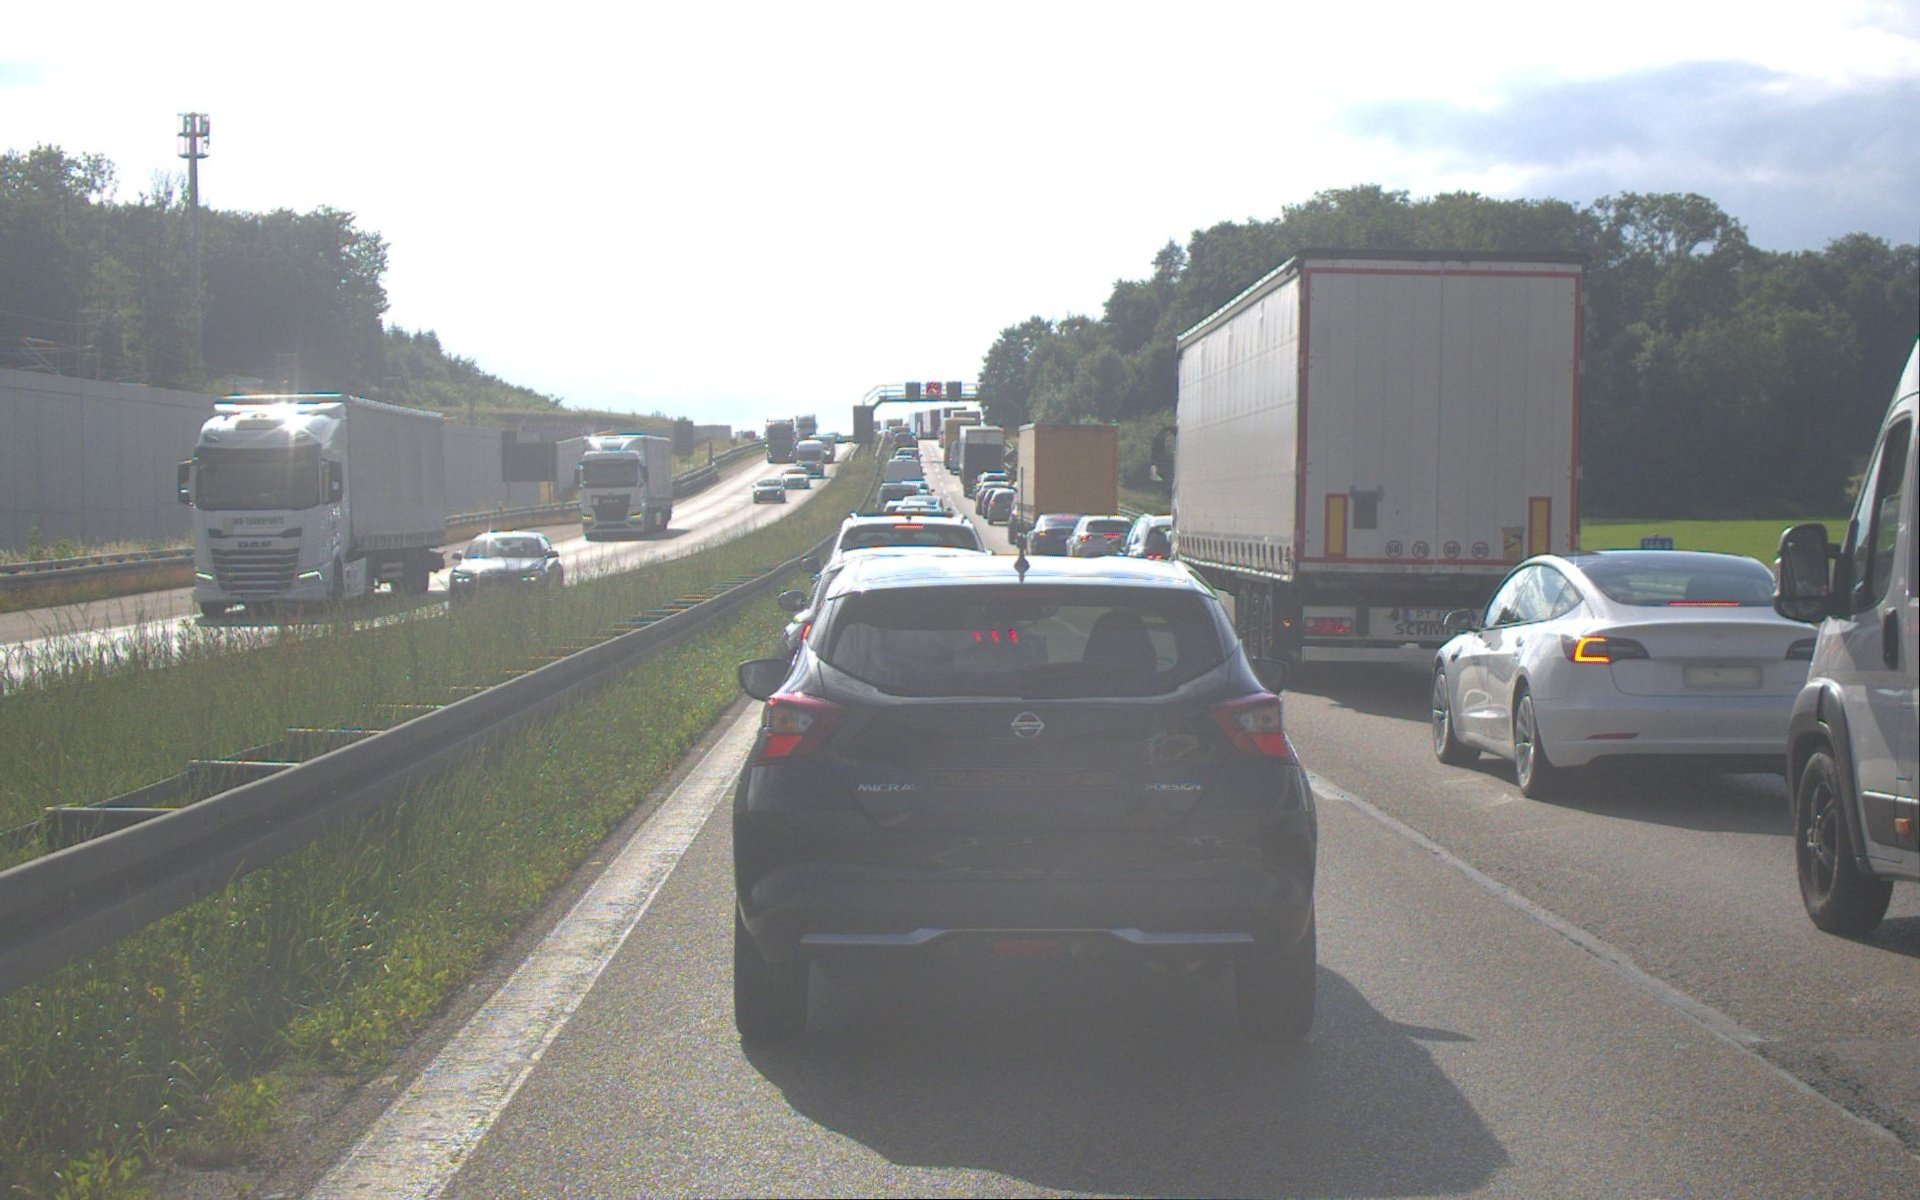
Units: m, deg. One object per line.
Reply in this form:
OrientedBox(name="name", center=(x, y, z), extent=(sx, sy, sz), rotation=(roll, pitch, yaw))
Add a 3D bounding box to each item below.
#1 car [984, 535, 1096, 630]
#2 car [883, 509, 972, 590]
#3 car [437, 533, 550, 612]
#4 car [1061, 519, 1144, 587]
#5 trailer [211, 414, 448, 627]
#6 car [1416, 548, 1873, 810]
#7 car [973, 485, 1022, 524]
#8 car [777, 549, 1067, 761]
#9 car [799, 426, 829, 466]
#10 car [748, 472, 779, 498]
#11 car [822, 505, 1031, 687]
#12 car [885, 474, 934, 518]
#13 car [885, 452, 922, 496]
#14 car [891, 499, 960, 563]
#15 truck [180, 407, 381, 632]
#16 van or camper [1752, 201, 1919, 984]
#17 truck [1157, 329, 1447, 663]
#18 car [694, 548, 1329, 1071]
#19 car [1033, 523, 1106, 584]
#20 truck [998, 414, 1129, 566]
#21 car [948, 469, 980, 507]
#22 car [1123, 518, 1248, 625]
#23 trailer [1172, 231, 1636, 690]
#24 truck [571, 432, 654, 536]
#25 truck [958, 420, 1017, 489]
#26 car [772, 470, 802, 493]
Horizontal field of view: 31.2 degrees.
OrientedBox(name="car", center=(1.406, -0.345, 61.943), extent=(1.873, 1.638, 4.232), rotation=(0, 1, -1))
OrientedBox(name="car", center=(-0.708, -1.120, 74.252), extent=(1.873, 1.638, 4.233), rotation=(0, 2, -1))
OrientedBox(name="car", center=(-8.556, -0.525, 63.263), extent=(1.633, 1.396, 3.897), rotation=(0, 1, -1))
OrientedBox(name="car", center=(3.611, -1.228, 87.581), extent=(1.873, 1.638, 4.233), rotation=(0, 2, -1))
OrientedBox(name="trailer", center=(-13.044, -1.638, 72.449), extent=(2.683, 4.024, 13.793), rotation=(-1, 1, -1))
OrientedBox(name="car", center=(4.046, 0.399, 21.051), extent=(1.788, 1.389, 4.437), rotation=(0, 1, -2))
OrientedBox(name="car", center=(1.650, -4.260, 152.678), extent=(1.873, 1.638, 4.233), rotation=(0, 3, -4))
OrientedBox(name="car", center=(-0.269, 0.321, 24.322), extent=(1.873, 1.353, 4.232), rotation=(0, 1, -1))
OrientedBox(name="car", center=(-10.999, -11.598, 259.092), extent=(2.104, 2.860, 5.637), rotation=(0, 1, -1))
OrientedBox(name="car", center=(-11.488, -6.713, 201.048), extent=(1.651, 1.446, 3.956), rotation=(0, 1, -1))
OrientedBox(name="car", center=(-0.326, -0.073, 33.156), extent=(1.873, 1.638, 4.232), rotation=(0, 1, -1))
OrientedBox(name="car", center=(-2.013, -4.124, 135.723), extent=(1.873, 1.638, 4.233), rotation=(0, 3, -2))
OrientedBox(name="car", center=(-2.960, -6.599, 179.575), extent=(1.873, 2.151, 5.212), rotation=(0, 4, -1))
OrientedBox(name="car", center=(-0.950, -1.936, 95.387), extent=(1.873, 1.638, 4.233), rotation=(0, 3, -1))
OrientedBox(name="truck", center=(-12.882, -1.515, 65.601), extent=(2.685, 4.054, 5.880), rotation=(-1, 1, -1))
OrientedBox(name="van or camper", center=(4.390, -0.013, 10.939), extent=(2.215, 2.672, 6.333), rotation=(0, 1, -1))
OrientedBox(name="truck", center=(4.275, -1.270, 44.062), extent=(3.133, 4.002, 5.164), rotation=(1, 0, 0))
OrientedBox(name="car", center=(0.121, 0.555, 11.747), extent=(1.773, 1.446, 4.232), rotation=(0, 1, -1))
OrientedBox(name="car", center=(3.078, -1.336, 96.957), extent=(1.873, 1.638, 4.232), rotation=(0, 2, -1))
OrientedBox(name="truck", center=(3.212, -3.406, 110.498), extent=(3.296, 4.561, 12.442), rotation=(1, 1, -2))
OrientedBox(name="car", center=(0.224, -6.848, 209.665), extent=(1.873, 2.151, 5.212), rotation=(0, 4, -1))
OrientedBox(name="car", center=(3.514, -0.467, 54.167), extent=(1.697, 1.605, 4.437), rotation=(0, 1, 0))
OrientedBox(name="trailer", center=(4.309, -1.245, 36.834), extent=(3.130, 3.997, 13.367), rotation=(1, 0, 0))
OrientedBox(name="truck", center=(-14.109, -4.673, 140.017), extent=(2.776, 4.074, 5.532), rotation=(-2, 1, -1))
OrientedBox(name="truck", center=(1.838, -9.959, 235.413), extent=(3.464, 4.561, 12.443), rotation=(1, 2, -2))
OrientedBox(name="car", center=(-11.670, -8.020, 232.479), extent=(1.873, 1.446, 4.232), rotation=(0, 1, -1))
